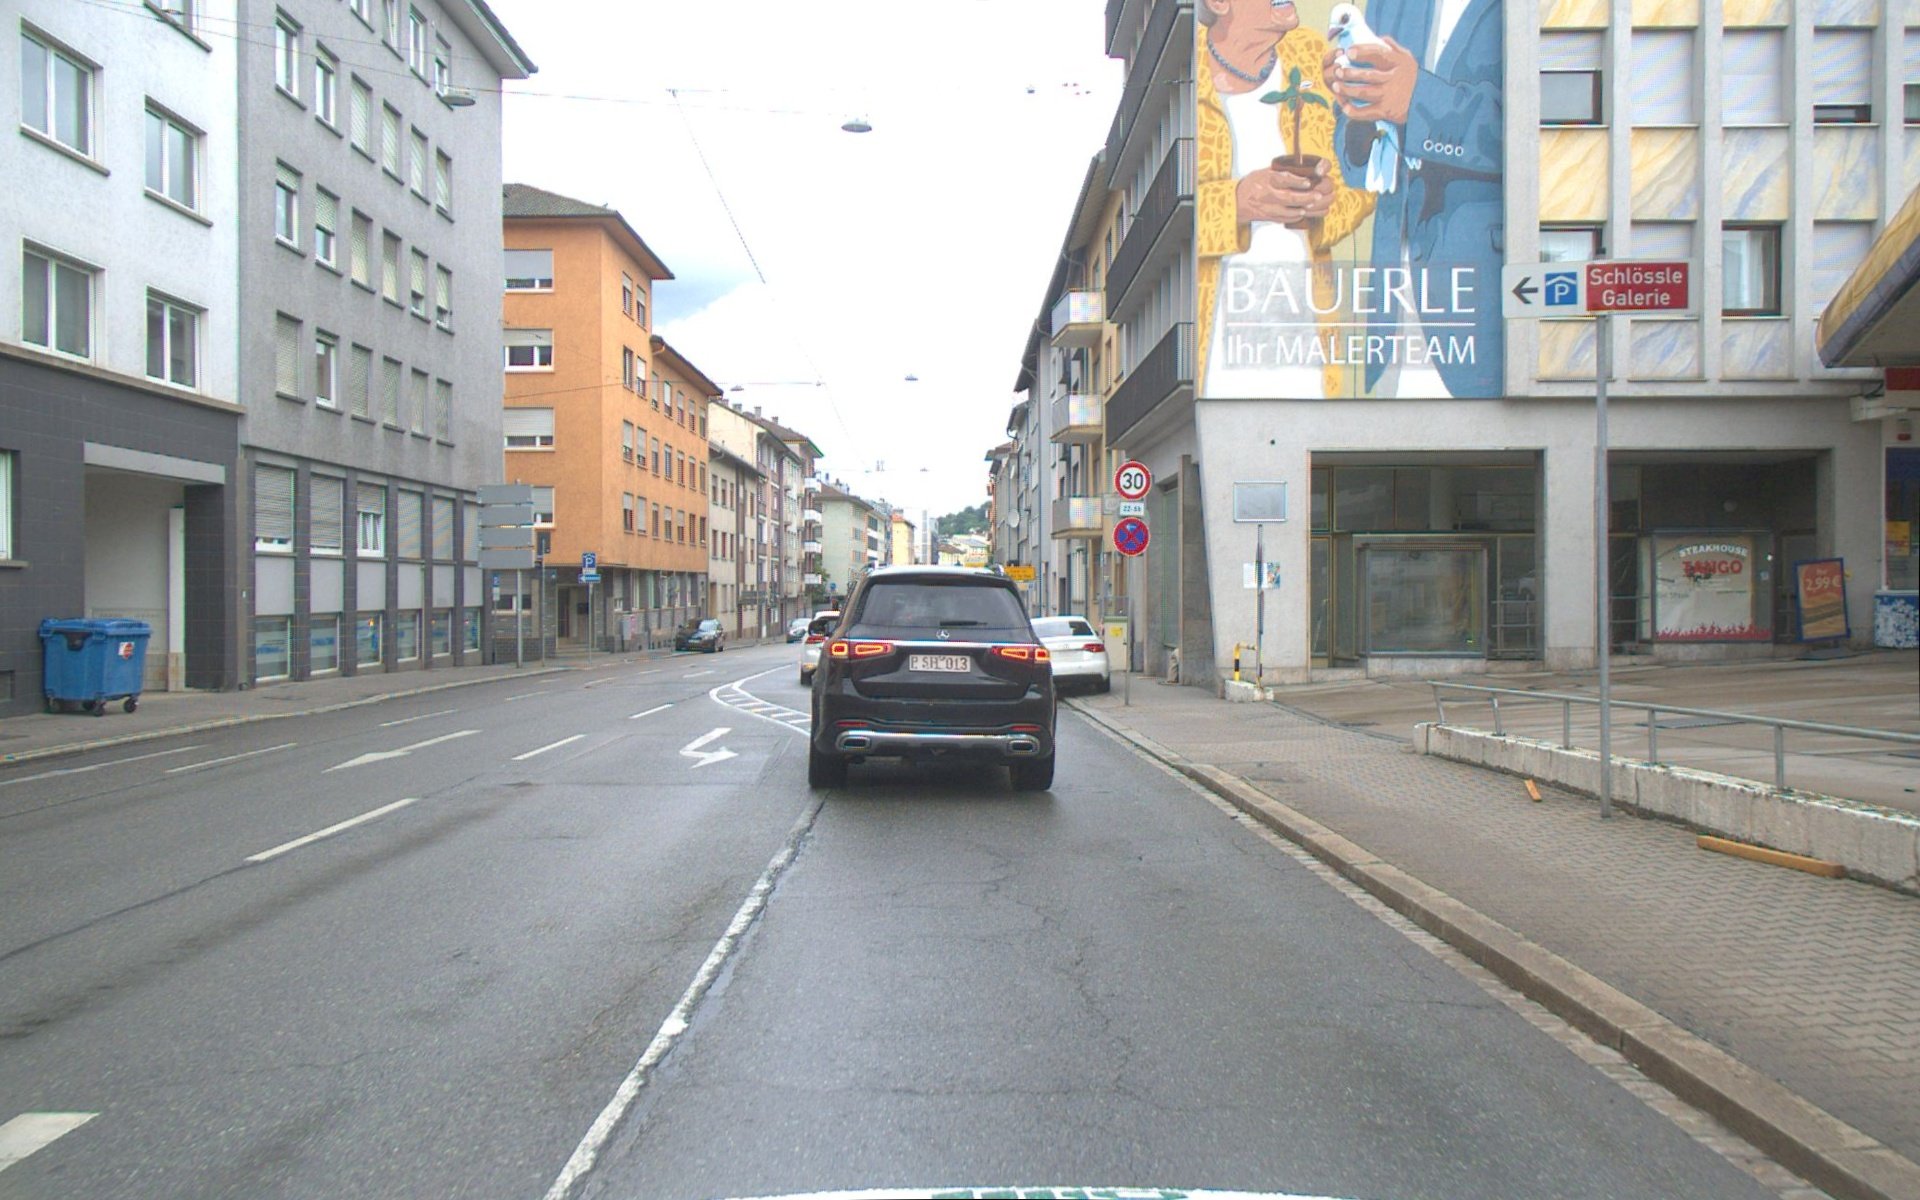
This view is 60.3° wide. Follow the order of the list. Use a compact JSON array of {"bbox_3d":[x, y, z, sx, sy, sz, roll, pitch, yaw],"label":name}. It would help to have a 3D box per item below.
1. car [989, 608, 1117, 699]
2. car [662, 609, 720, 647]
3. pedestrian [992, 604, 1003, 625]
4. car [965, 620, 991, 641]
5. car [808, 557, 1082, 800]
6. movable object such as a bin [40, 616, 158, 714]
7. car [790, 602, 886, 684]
[{"bbox_3d":[1.689,0.955,31.640,1.856,1.426,4.606,-5,0,-3],"label":"car"},{"bbox_3d":[-11.357,1.166,70.151,1.853,1.484,4.547,1,0,-2],"label":"car"},{"bbox_3d":[2.842,1.105,124.332,0.804,1.592,0.900,1,0,2],"label":"pedestrian"},{"bbox_3d":[1.308,2.232,122.175,1.699,1.412,4.581,1,0,-2],"label":"car"},{"bbox_3d":[-0.285,0.584,14.714,2.035,1.796,4.606,1,0,-5],"label":"car"},{"bbox_3d":[-12.397,0.923,23.862,1.054,1.347,1.190,1,0,-1],"label":"movable object such as a bin"},{"bbox_3d":[-2.517,0.857,34.801,1.855,1.537,4.171,2,0,-3],"label":"car"}]
